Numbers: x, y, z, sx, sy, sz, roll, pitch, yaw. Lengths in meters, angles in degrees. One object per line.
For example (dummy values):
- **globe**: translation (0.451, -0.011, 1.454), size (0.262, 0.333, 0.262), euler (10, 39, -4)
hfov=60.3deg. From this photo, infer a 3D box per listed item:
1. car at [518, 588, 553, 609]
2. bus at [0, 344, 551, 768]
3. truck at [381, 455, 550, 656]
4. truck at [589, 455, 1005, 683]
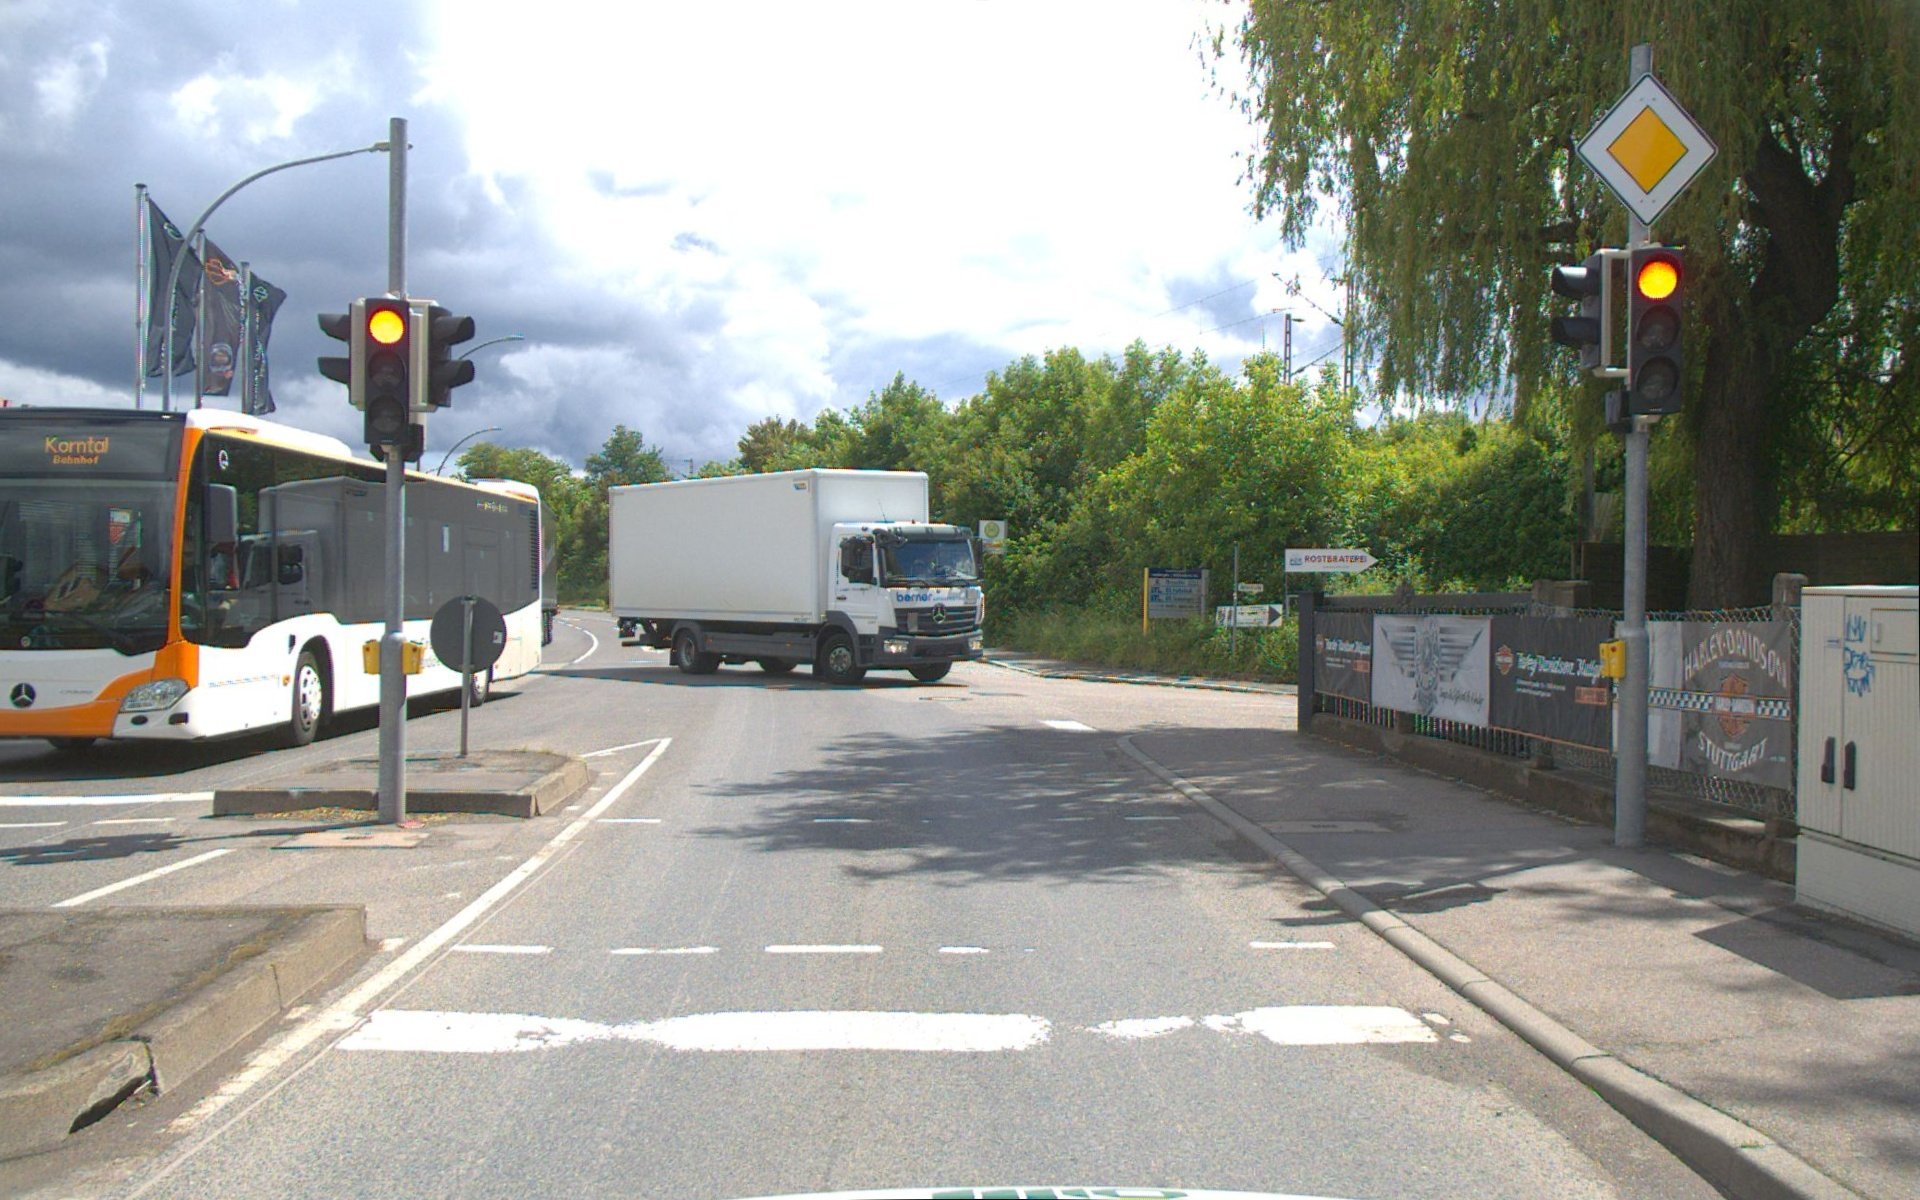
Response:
- **car**: translation (-32.019, -0.135, 124.675), size (1.860, 1.534, 3.970), euler (1, 0, -24)
- **bus**: translation (-7.450, -0.324, 19.033), size (2.721, 3.323, 12.120), euler (0, 0, -1)
- **truck**: translation (-11.715, -0.942, 39.998), size (2.383, 4.203, 9.133), euler (3, 0, -8)
- **truck**: translation (-3.366, -0.530, 30.721), size (2.822, 3.602, 9.584), euler (0, 0, -40)
